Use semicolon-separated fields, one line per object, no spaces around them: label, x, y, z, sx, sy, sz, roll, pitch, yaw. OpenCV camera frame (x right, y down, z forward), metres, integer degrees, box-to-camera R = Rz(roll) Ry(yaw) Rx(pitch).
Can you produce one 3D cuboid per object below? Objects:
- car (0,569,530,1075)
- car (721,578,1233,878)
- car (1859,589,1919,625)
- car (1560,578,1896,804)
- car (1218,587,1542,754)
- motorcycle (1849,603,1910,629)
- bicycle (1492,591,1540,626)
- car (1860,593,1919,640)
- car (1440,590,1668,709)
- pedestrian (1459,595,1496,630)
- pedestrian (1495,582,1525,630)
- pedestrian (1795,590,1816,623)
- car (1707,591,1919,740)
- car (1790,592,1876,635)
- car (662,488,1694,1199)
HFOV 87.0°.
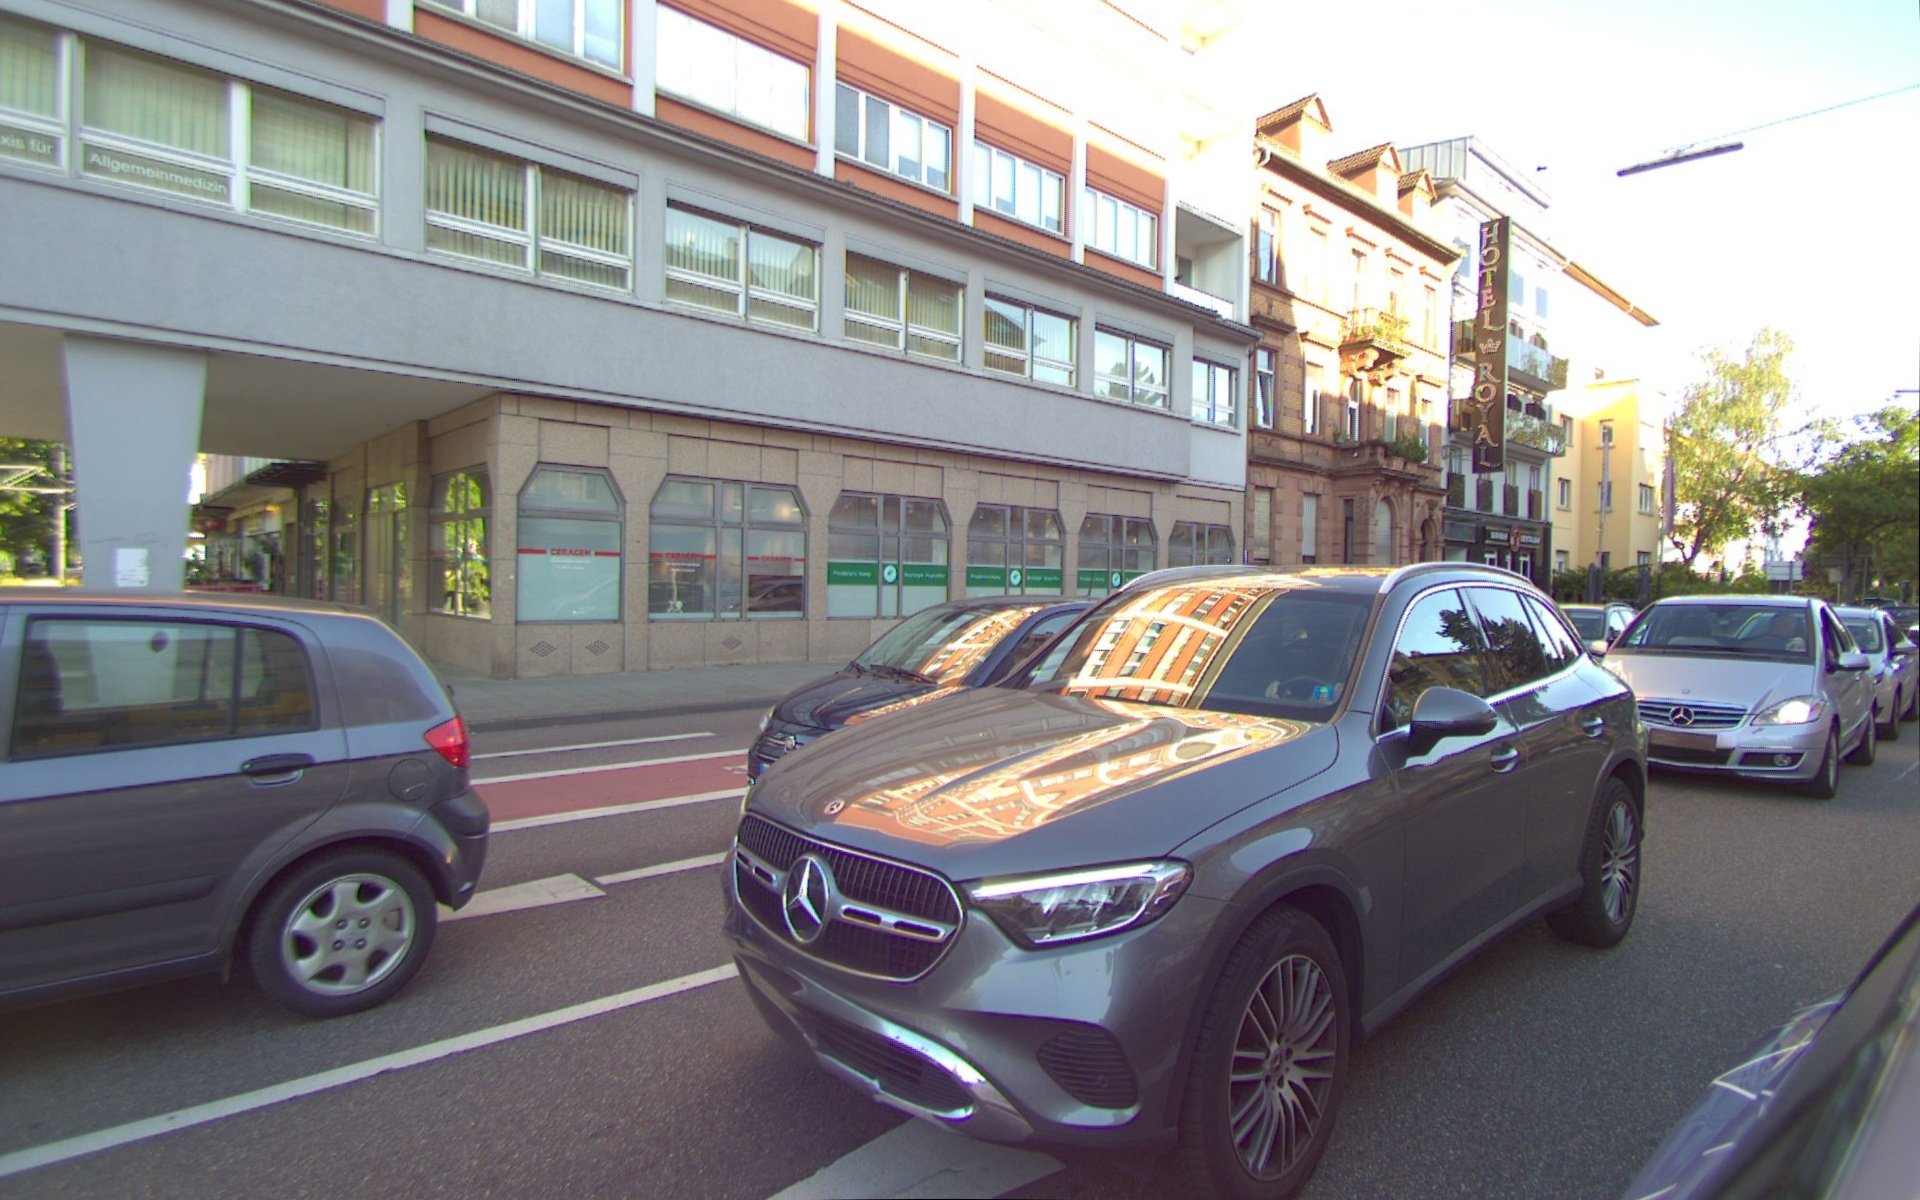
car;-3.525;0.640;3.325;3.585;1.465;1.587;0;0;-42
car;0.268;0.645;6.928;3.420;1.524;1.491;0;1;-43
car;46.856;0.322;50.955;4.715;1.675;1.950;0;2;-43
car;7.020;0.640;9.129;3.557;1.588;1.806;0;1;-43
car;4.732;0.624;11.103;4.166;1.503;1.653;0;0;-42
motorcycle;41.055;0.715;45.218;1.921;1.084;0.809;2;1;37
bicycle;19.737;0.280;35.928;1.415;1.124;0.483;5;3;32
car;33.085;0.550;35.463;3.933;1.553;1.996;0;1;-43
car;8.809;0.623;14.876;4.086;1.475;1.710;0;1;-42
pedestrian;16.415;0.383;32.098;0.927;1.056;0.692;0;1;-39
pedestrian;19.515;0.204;35.886;0.681;1.664;0.708;1;1;-42
pedestrian;43.199;0.312;51.716;0.570;1.636;0.747;0;1;-43
car;10.783;0.669;12.485;4.234;1.529;1.710;0;0;-42
car;35.017;0.511;40.566;4.749;1.531;1.860;0;3;-40
car;1.284;0.597;4.024;4.402;1.653;1.786;0;1;-43
